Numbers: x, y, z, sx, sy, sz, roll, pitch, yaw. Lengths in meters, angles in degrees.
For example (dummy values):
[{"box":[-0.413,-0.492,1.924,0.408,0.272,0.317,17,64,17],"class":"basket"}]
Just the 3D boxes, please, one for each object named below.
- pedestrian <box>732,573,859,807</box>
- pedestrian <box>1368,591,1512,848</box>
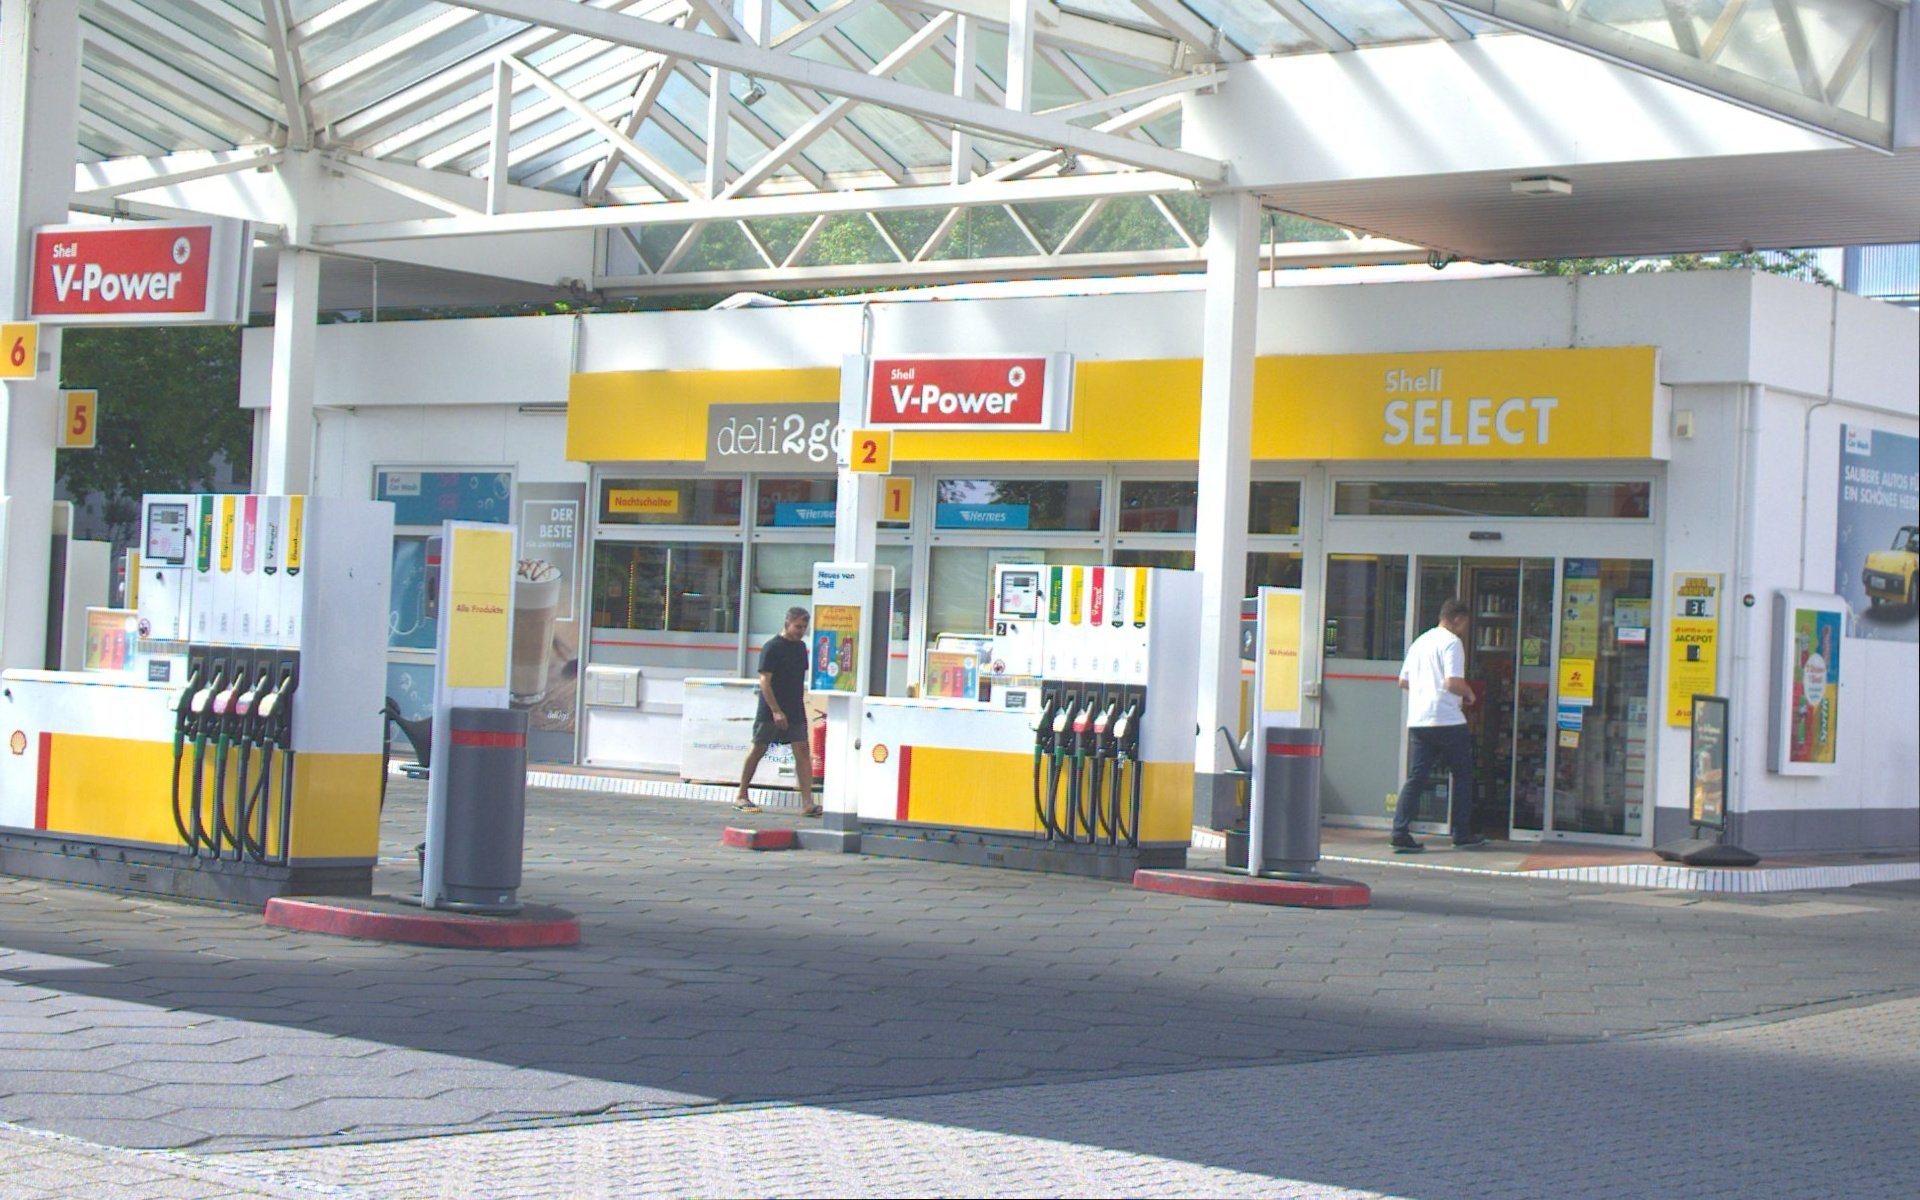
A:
[{"box":[-1.303,0.713,27.251,0.673,1.815,0.630,4,-2,-44],"class":"pedestrian"},{"box":[3.551,0.876,25.402,0.856,1.831,0.744,2,-1,18],"class":"pedestrian"}]
